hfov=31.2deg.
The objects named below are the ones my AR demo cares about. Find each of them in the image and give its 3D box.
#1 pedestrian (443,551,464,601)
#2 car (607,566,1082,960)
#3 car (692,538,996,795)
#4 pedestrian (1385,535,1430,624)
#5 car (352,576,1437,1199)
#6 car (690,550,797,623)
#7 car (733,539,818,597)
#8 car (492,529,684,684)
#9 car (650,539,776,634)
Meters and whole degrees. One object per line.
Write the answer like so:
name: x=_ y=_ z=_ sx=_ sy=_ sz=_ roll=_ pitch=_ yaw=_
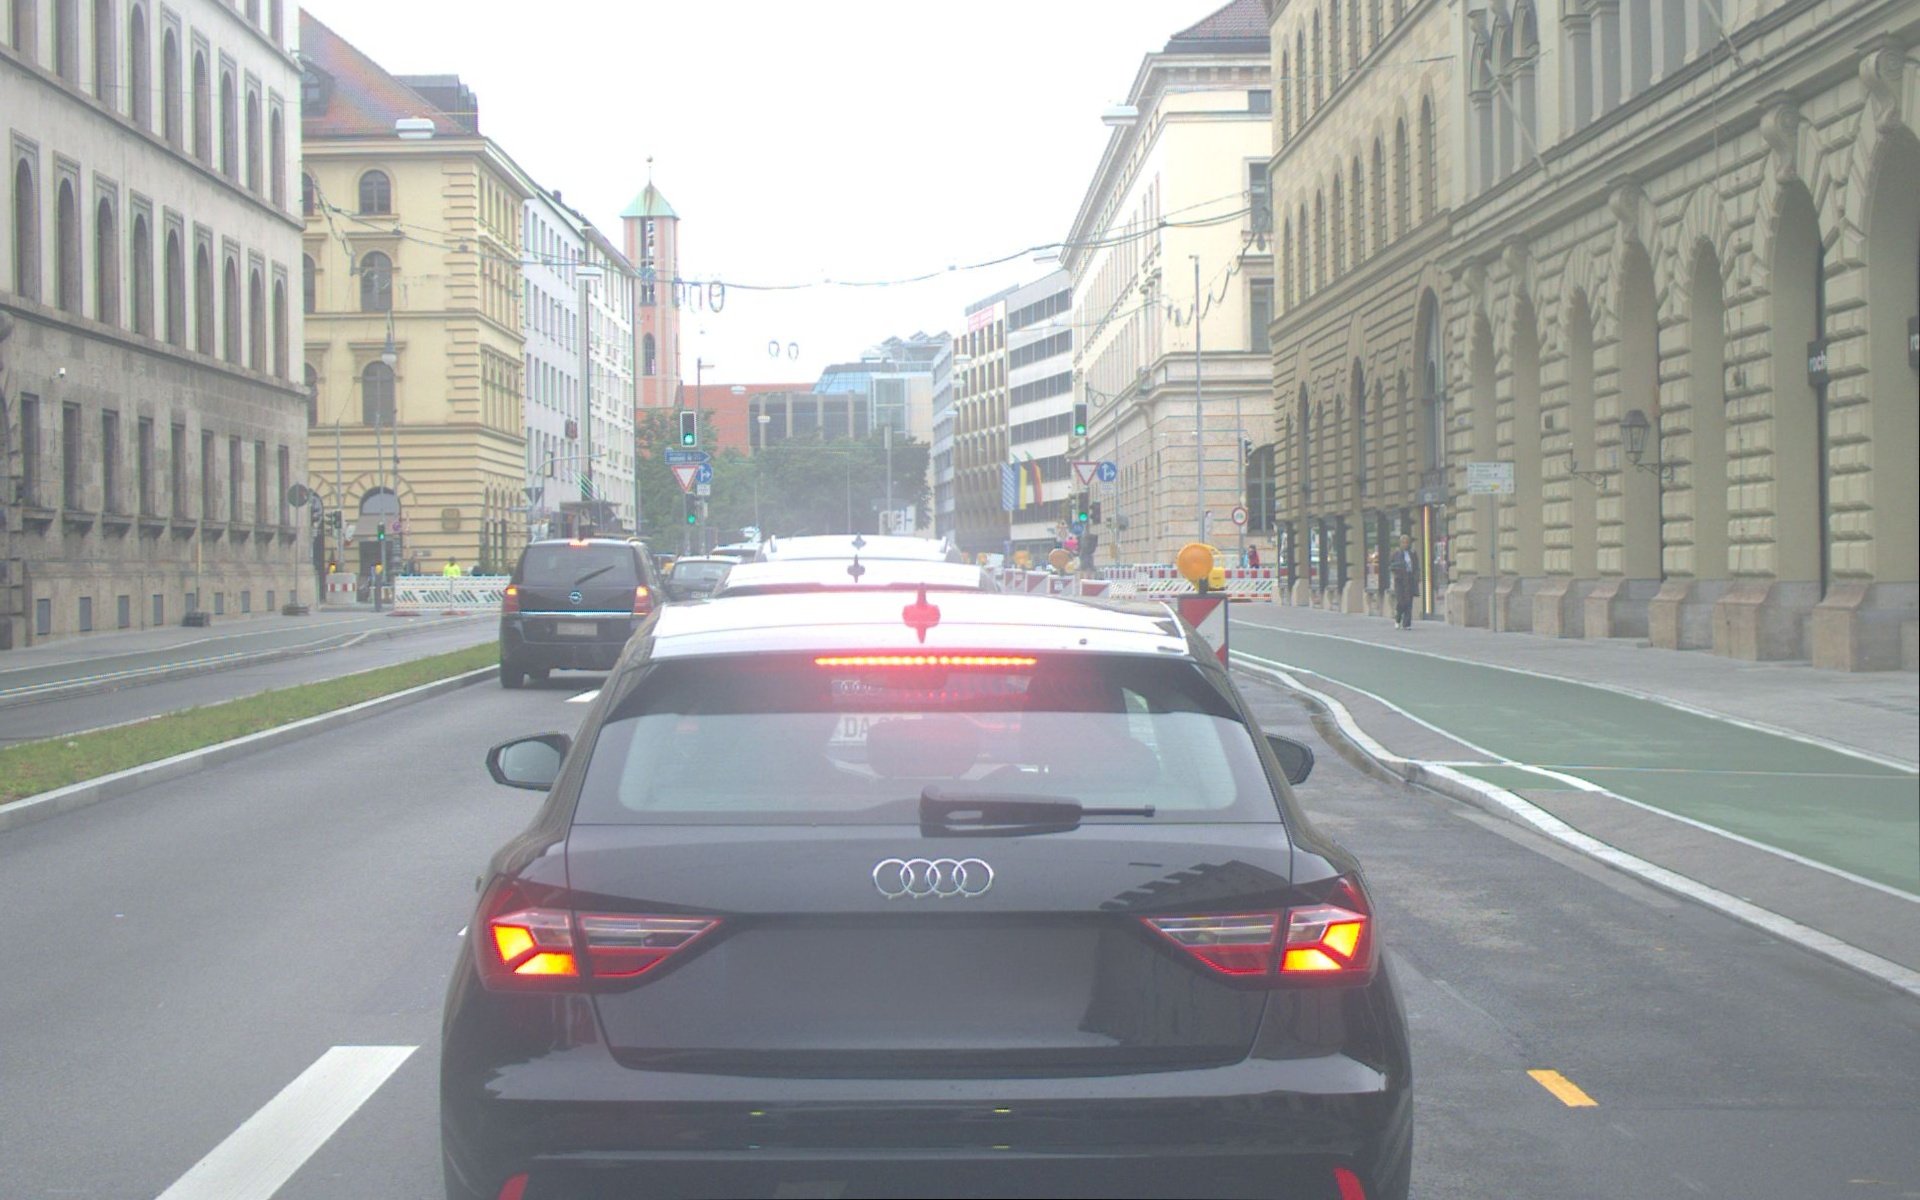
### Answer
pedestrian: x=-18.460 y=-0.868 z=125.197 sx=0.656 sy=1.799 sz=0.727 roll=-1 pitch=1 yaw=-1
car: x=-0.459 y=0.580 z=14.637 sx=1.730 sy=1.398 sz=4.000 roll=1 pitch=1 yaw=-1
car: x=-0.702 y=0.348 z=21.820 sx=1.730 sy=1.456 sz=4.000 roll=1 pitch=1 yaw=-1
pedestrian: x=8.196 y=-0.376 z=63.006 sx=0.710 sy=1.612 sz=0.754 roll=-1 pitch=1 yaw=-1
car: x=-0.141 y=0.679 z=7.521 sx=1.730 sy=1.398 sz=4.000 roll=1 pitch=1 yaw=-1
car: x=-4.439 y=-0.291 z=70.976 sx=1.993 sy=1.439 sz=4.000 roll=-1 pitch=1 yaw=-1
car: x=-4.695 y=-0.830 z=88.096 sx=1.993 sy=1.439 sz=4.000 roll=-1 pitch=1 yaw=-1
car: x=-4.078 y=0.035 z=38.204 sx=1.764 sy=1.610 sz=4.030 roll=1 pitch=1 yaw=-1
car: x=-4.389 y=-0.261 z=61.578 sx=1.993 sy=1.622 sz=4.000 roll=-1 pitch=1 yaw=-1
